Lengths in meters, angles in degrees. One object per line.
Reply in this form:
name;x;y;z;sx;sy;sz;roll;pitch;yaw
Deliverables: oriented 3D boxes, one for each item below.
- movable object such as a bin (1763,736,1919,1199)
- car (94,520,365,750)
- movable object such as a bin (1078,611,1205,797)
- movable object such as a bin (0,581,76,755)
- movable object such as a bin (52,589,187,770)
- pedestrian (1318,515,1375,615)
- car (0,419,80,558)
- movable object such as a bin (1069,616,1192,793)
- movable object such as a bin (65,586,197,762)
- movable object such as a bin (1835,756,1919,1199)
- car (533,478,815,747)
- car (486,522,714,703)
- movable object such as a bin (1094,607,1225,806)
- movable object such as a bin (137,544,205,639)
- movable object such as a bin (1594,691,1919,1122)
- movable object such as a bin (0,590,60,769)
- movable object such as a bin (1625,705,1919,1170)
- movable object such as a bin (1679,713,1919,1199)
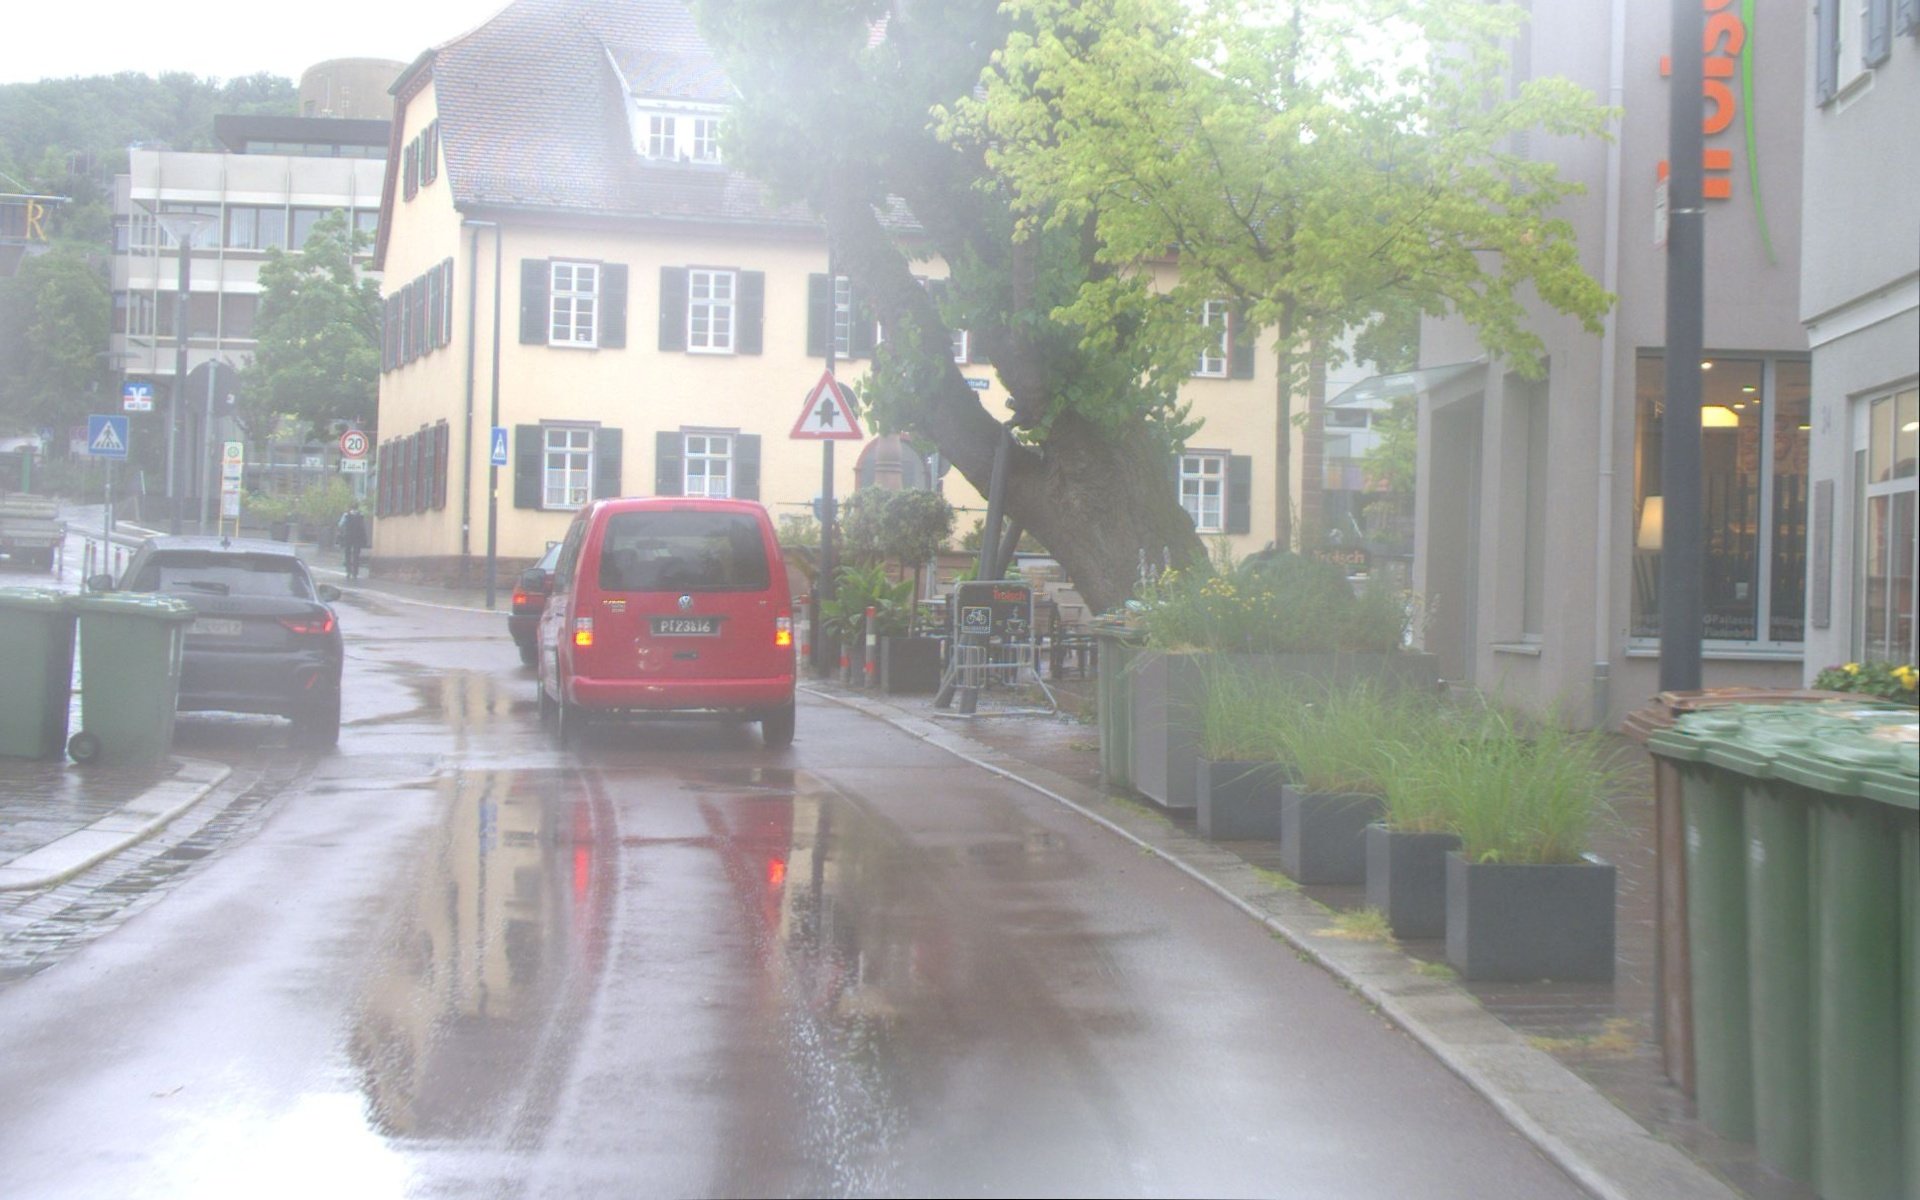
movable object such as a bin;2.192;0.865;7.475;0.729;1.087;0.521;3;-1;1
car;-5.588;0.206;26.092;1.787;1.490;4.002;3;1;-13
movable object such as a bin;1.108;0.631;21.109;0.631;1.100;0.579;3;-1;-8
movable object such as a bin;-6.192;0.432;22.399;0.725;1.106;0.597;3;-1;-8
movable object such as a bin;-5.349;0.503;21.905;0.725;1.106;0.597;3;-1;-8
pedestrian;7.327;-0.662;65.261;0.898;1.836;0.766;3;-1;-2
car;-19.500;-2.218;69.987;2.299;2.593;6.960;3;-1;-20
movable object such as a bin;1.096;0.666;22.164;0.677;1.099;0.579;3;-1;-4
movable object such as a bin;-5.430;0.481;22.551;0.725;1.106;0.645;3;-1;-8
movable object such as a bin;2.223;0.871;6.892;0.754;1.060;0.600;3;-1;1
car;-2.198;0.024;26.441;1.894;1.805;4.001;3;2;-5
car;-3.913;0.149;37.980;1.993;1.793;4.000;3;-1;0
movable object such as a bin;1.185;0.627;20.529;0.631;1.146;0.579;3;-1;-8
movable object such as a bin;-9.477;-0.105;41.314;0.714;1.102;0.600;3;-1;-10
movable object such as a bin;2.162;0.804;9.230;0.753;1.086;0.656;1;1;-3
movable object such as a bin;-6.129;0.486;21.749;0.725;1.106;0.597;3;-1;-8
movable object such as a bin;2.127;0.833;8.669;0.735;1.094;0.611;2;-1;0
movable object such as a bin;2.141;0.834;8.066;0.735;1.094;0.611;2;-1;0
